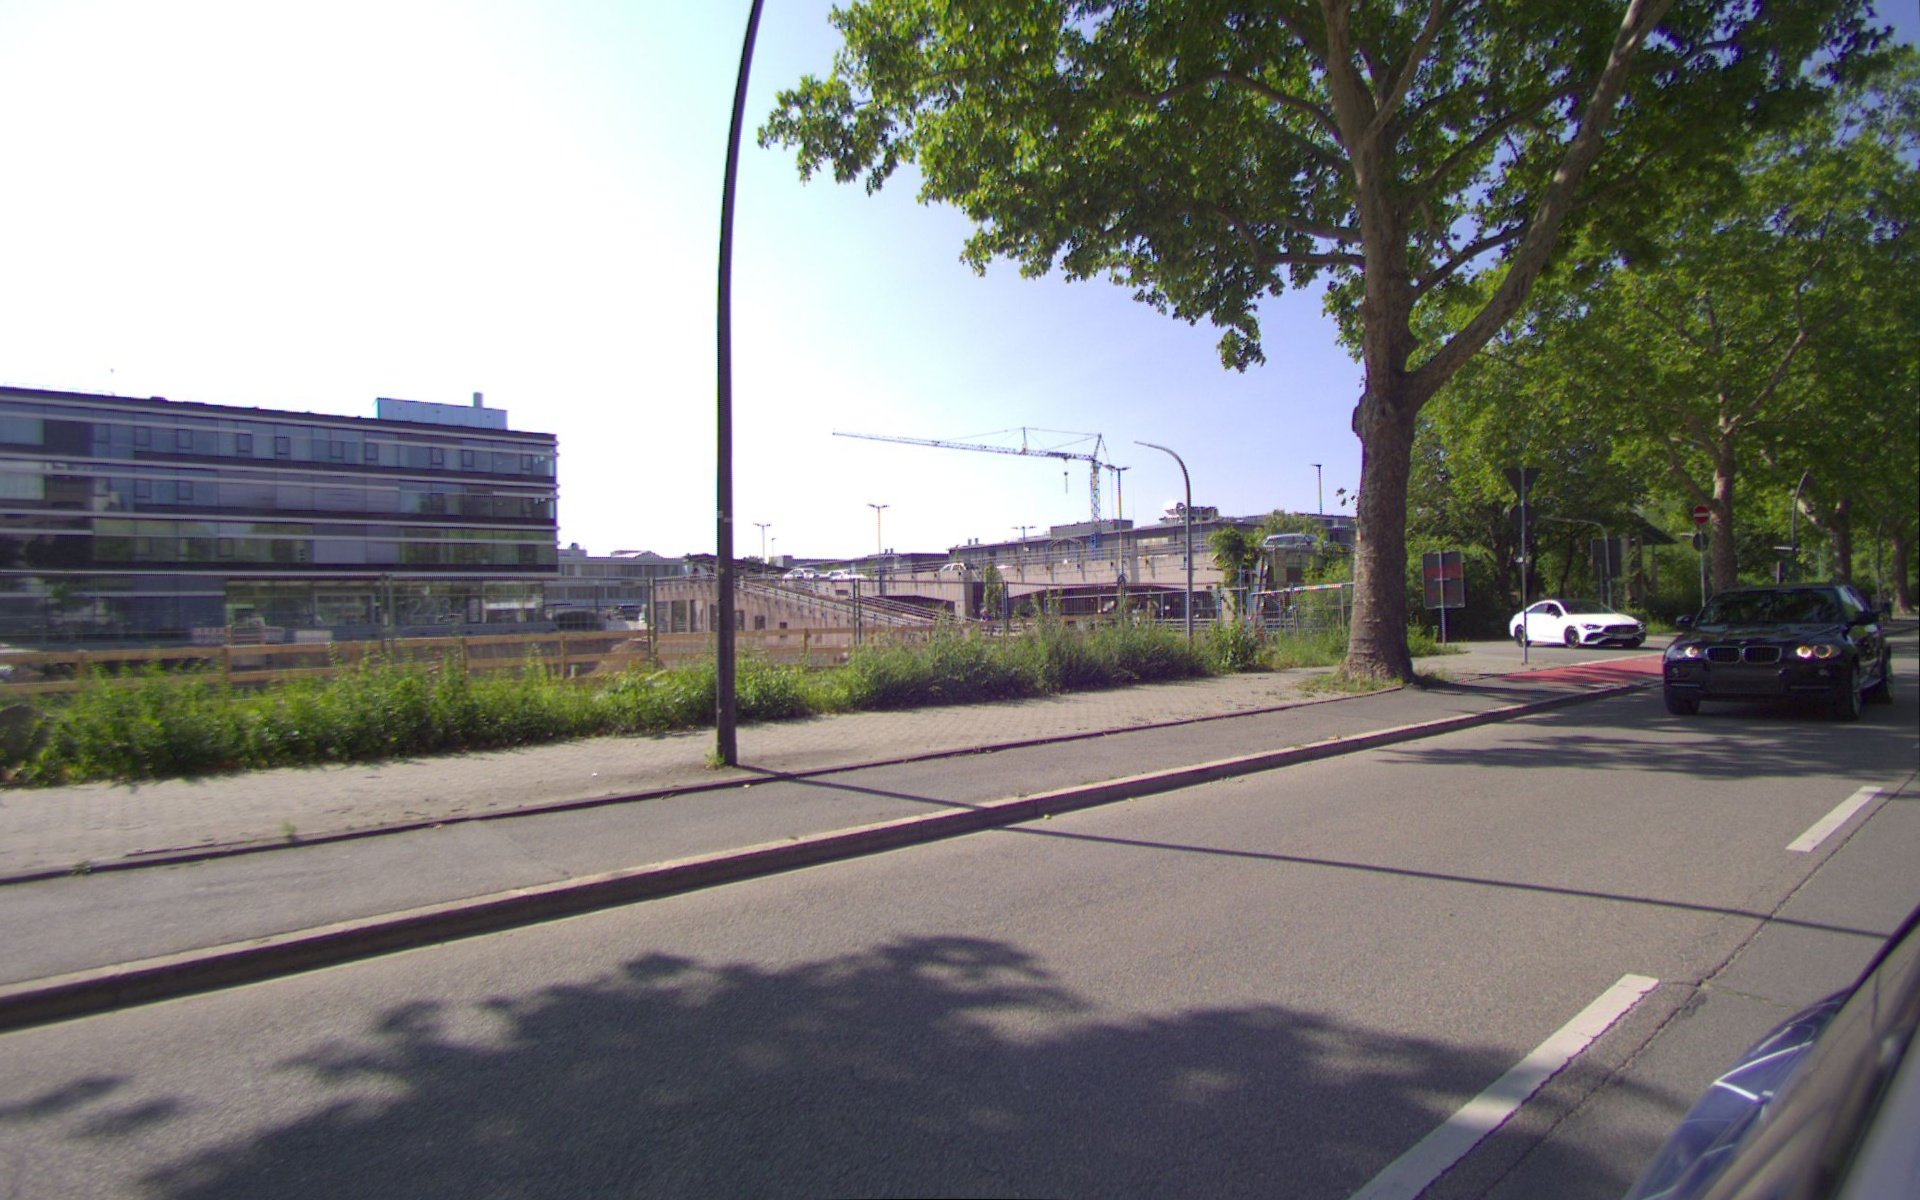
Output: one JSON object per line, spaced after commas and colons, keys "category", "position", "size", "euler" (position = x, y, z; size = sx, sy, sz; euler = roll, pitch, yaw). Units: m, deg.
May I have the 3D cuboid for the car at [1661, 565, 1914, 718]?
{"category": "car", "position": [11.279, 0.476, 13.709], "size": [4.079, 1.752, 1.922], "euler": [-1, -2, -41]}

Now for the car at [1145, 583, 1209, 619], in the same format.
{"category": "car", "position": [14.898, 0.106, 69.590], "size": [1.778, 2.352, 3.991], "euler": [-1, -1, -42]}

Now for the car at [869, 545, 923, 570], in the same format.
{"category": "car", "position": [-4.563, -3.023, 71.928], "size": [1.778, 1.529, 3.991], "euler": [-1, -1, -42]}

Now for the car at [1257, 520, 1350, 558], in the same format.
{"category": "car", "position": [16.992, -2.997, 50.239], "size": [1.778, 1.529, 3.991], "euler": [-1, -1, -42]}

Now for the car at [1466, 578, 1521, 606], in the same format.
{"category": "car", "position": [48.699, -0.727, 92.440], "size": [1.778, 2.352, 3.991], "euler": [-1, -1, -42]}

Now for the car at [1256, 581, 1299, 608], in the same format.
{"category": "car", "position": [34.318, -0.591, 109.388], "size": [1.778, 2.774, 3.991], "euler": [-1, -1, -42]}

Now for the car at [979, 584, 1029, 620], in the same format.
{"category": "car", "position": [3.576, 0.169, 82.395], "size": [1.778, 2.774, 3.991], "euler": [-1, -1, -42]}

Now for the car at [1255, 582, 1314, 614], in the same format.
{"category": "car", "position": [25.131, -0.146, 78.445], "size": [1.778, 2.352, 3.991], "euler": [-1, -1, -42]}

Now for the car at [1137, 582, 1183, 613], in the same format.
{"category": "car", "position": [18.909, -0.210, 95.838], "size": [1.778, 2.774, 3.991], "euler": [-1, -1, -42]}

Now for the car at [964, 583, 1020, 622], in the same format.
{"category": "car", "position": [2.277, 0.202, 73.538], "size": [1.778, 2.774, 3.991], "euler": [-1, -1, -42]}

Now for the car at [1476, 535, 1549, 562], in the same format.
{"category": "car", "position": [38.058, -3.518, 69.785], "size": [1.778, 1.529, 3.991], "euler": [-1, -1, -42]}

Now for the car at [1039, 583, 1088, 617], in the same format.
{"category": "car", "position": [8.880, 0.038, 86.761], "size": [1.778, 2.774, 3.991], "euler": [-1, -1, -42]}

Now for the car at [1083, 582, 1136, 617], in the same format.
{"category": "car", "position": [12.222, -0.044, 82.956], "size": [1.778, 2.774, 3.991], "euler": [-1, -1, -42]}

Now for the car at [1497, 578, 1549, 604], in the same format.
{"category": "car", "position": [53.834, -0.854, 96.812], "size": [1.778, 2.352, 3.991], "euler": [-1, -1, -42]}

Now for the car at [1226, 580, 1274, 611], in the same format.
{"category": "car", "position": [27.620, -0.424, 96.337], "size": [1.778, 2.774, 3.991], "euler": [-1, -1, -42]}

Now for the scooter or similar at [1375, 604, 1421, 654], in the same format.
{"category": "scooter or similar", "position": [10.173, 0.666, 23.504], "size": [1.108, 1.136, 0.482], "euler": [-1, -1, -39]}

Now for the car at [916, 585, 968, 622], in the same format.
{"category": "car", "position": [-1.383, 0.291, 78.001], "size": [1.778, 2.774, 3.991], "euler": [-1, -1, -42]}

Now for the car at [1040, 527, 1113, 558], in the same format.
{"category": "car", "position": [6.714, -3.298, 58.600], "size": [1.778, 1.529, 3.991], "euler": [-1, -1, -42]}

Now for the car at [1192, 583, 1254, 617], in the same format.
{"category": "car", "position": [19.000, 0.005, 73.191], "size": [1.778, 2.352, 3.991], "euler": [-1, -1, -42]}

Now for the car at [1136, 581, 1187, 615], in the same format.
{"category": "car", "position": [17.353, -0.171, 87.434], "size": [1.778, 2.774, 3.991], "euler": [-1, -1, -42]}

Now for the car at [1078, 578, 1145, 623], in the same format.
{"category": "car", "position": [9.707, 0.023, 65.162], "size": [1.778, 2.774, 3.991], "euler": [-1, -1, -42]}

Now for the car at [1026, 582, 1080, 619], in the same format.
{"category": "car", "position": [7.156, 0.081, 78.469], "size": [1.778, 2.774, 3.991], "euler": [-1, -1, -42]}

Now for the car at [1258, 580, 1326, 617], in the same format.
{"category": "car", "position": [22.654, -0.084, 69.164], "size": [1.778, 2.352, 3.991], "euler": [-1, -1, -42]}

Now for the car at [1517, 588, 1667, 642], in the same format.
{"category": "car", "position": [18.371, 0.435, 29.644], "size": [1.861, 1.426, 3.998], "euler": [-1, -1, 1]}

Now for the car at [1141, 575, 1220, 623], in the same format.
{"category": "car", "position": [13.225, -0.044, 60.851], "size": [1.778, 2.774, 4.368], "euler": [-1, -1, -42]}
